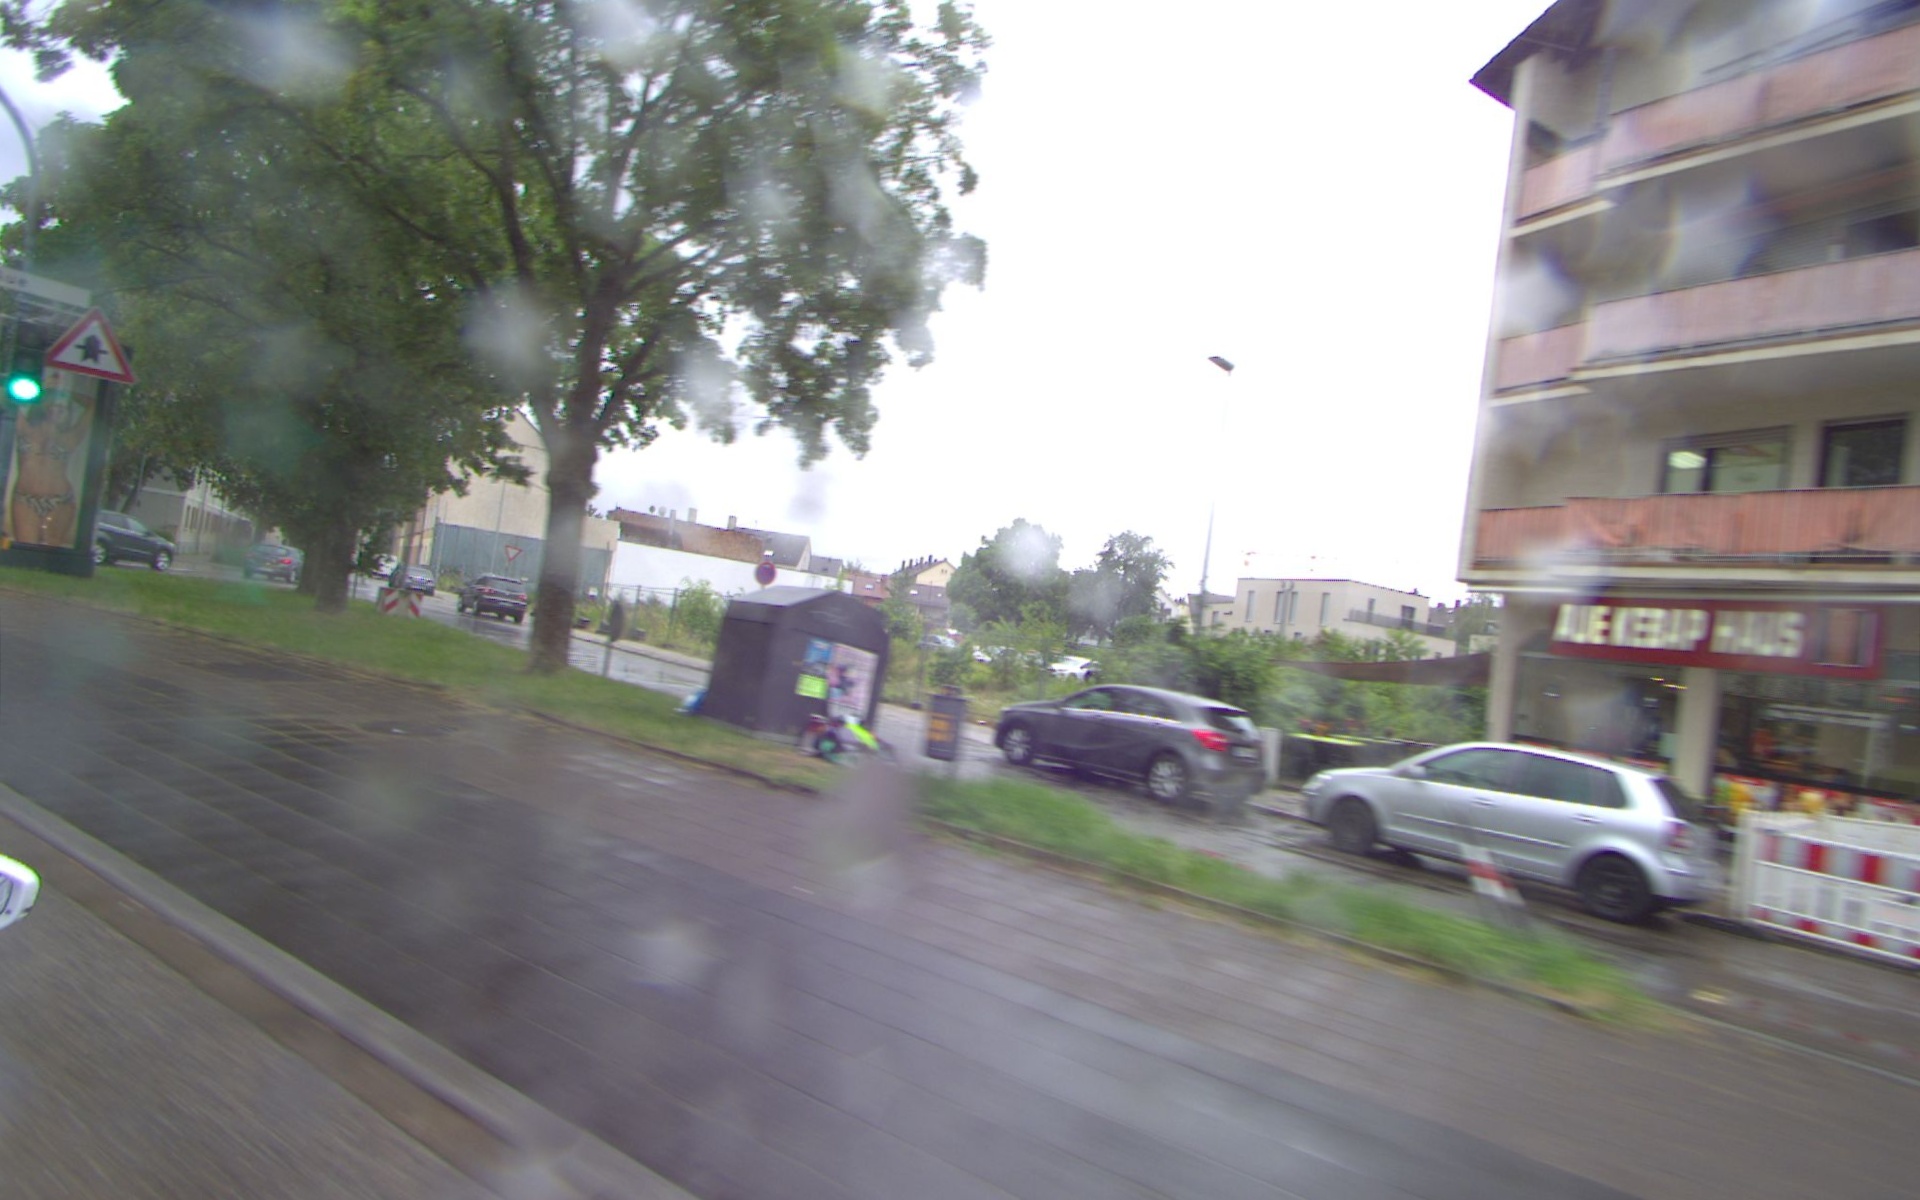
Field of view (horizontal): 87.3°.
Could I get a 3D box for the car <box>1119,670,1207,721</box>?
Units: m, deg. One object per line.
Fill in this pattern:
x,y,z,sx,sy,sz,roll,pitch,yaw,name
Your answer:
9.601,4.536,47.444,3.980,1.880,1.976,11,-4,-44,car

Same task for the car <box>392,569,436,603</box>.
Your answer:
-31.441,-0.825,57.970,1.959,1.566,4.500,9,-3,-28,car

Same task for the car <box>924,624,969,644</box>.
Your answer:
-1.055,2.571,76.498,1.748,1.148,4.376,9,-3,-24,car

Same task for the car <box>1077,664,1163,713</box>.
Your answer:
7.863,4.349,49.173,3.980,1.880,1.976,11,-4,-44,car

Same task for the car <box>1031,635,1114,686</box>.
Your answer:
5.808,3.139,51.847,3.979,2.036,1.976,11,-4,-44,car

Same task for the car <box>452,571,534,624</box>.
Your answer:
-18.424,-0.125,39.591,1.847,1.673,4.261,10,-3,-38,car

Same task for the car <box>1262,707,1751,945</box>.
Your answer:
5.536,2.185,10.585,1.631,1.449,4.125,10,-3,-44,car

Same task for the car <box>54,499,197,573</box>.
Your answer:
-26.346,-1.960,31.965,1.973,1.763,4.288,9,-3,-20,car

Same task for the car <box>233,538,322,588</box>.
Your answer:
-28.492,-1.505,42.168,1.973,1.620,4.072,9,-3,-20,car

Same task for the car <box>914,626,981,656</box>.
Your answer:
-0.795,2.543,62.620,3.948,1.280,1.761,5,-4,44,car

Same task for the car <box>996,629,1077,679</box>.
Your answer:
4.086,2.893,53.622,3.979,2.036,1.976,11,-4,-44,car

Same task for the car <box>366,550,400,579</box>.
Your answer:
-52.726,-3.265,91.881,2.335,2.232,4.577,9,-3,-31,car

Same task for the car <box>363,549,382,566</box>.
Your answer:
-80.936,-5.840,138.603,1.981,2.036,3.968,9,-3,-32,car

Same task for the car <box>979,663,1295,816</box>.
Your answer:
2.393,1.913,14.375,1.695,1.449,4.105,10,-4,-44,car
